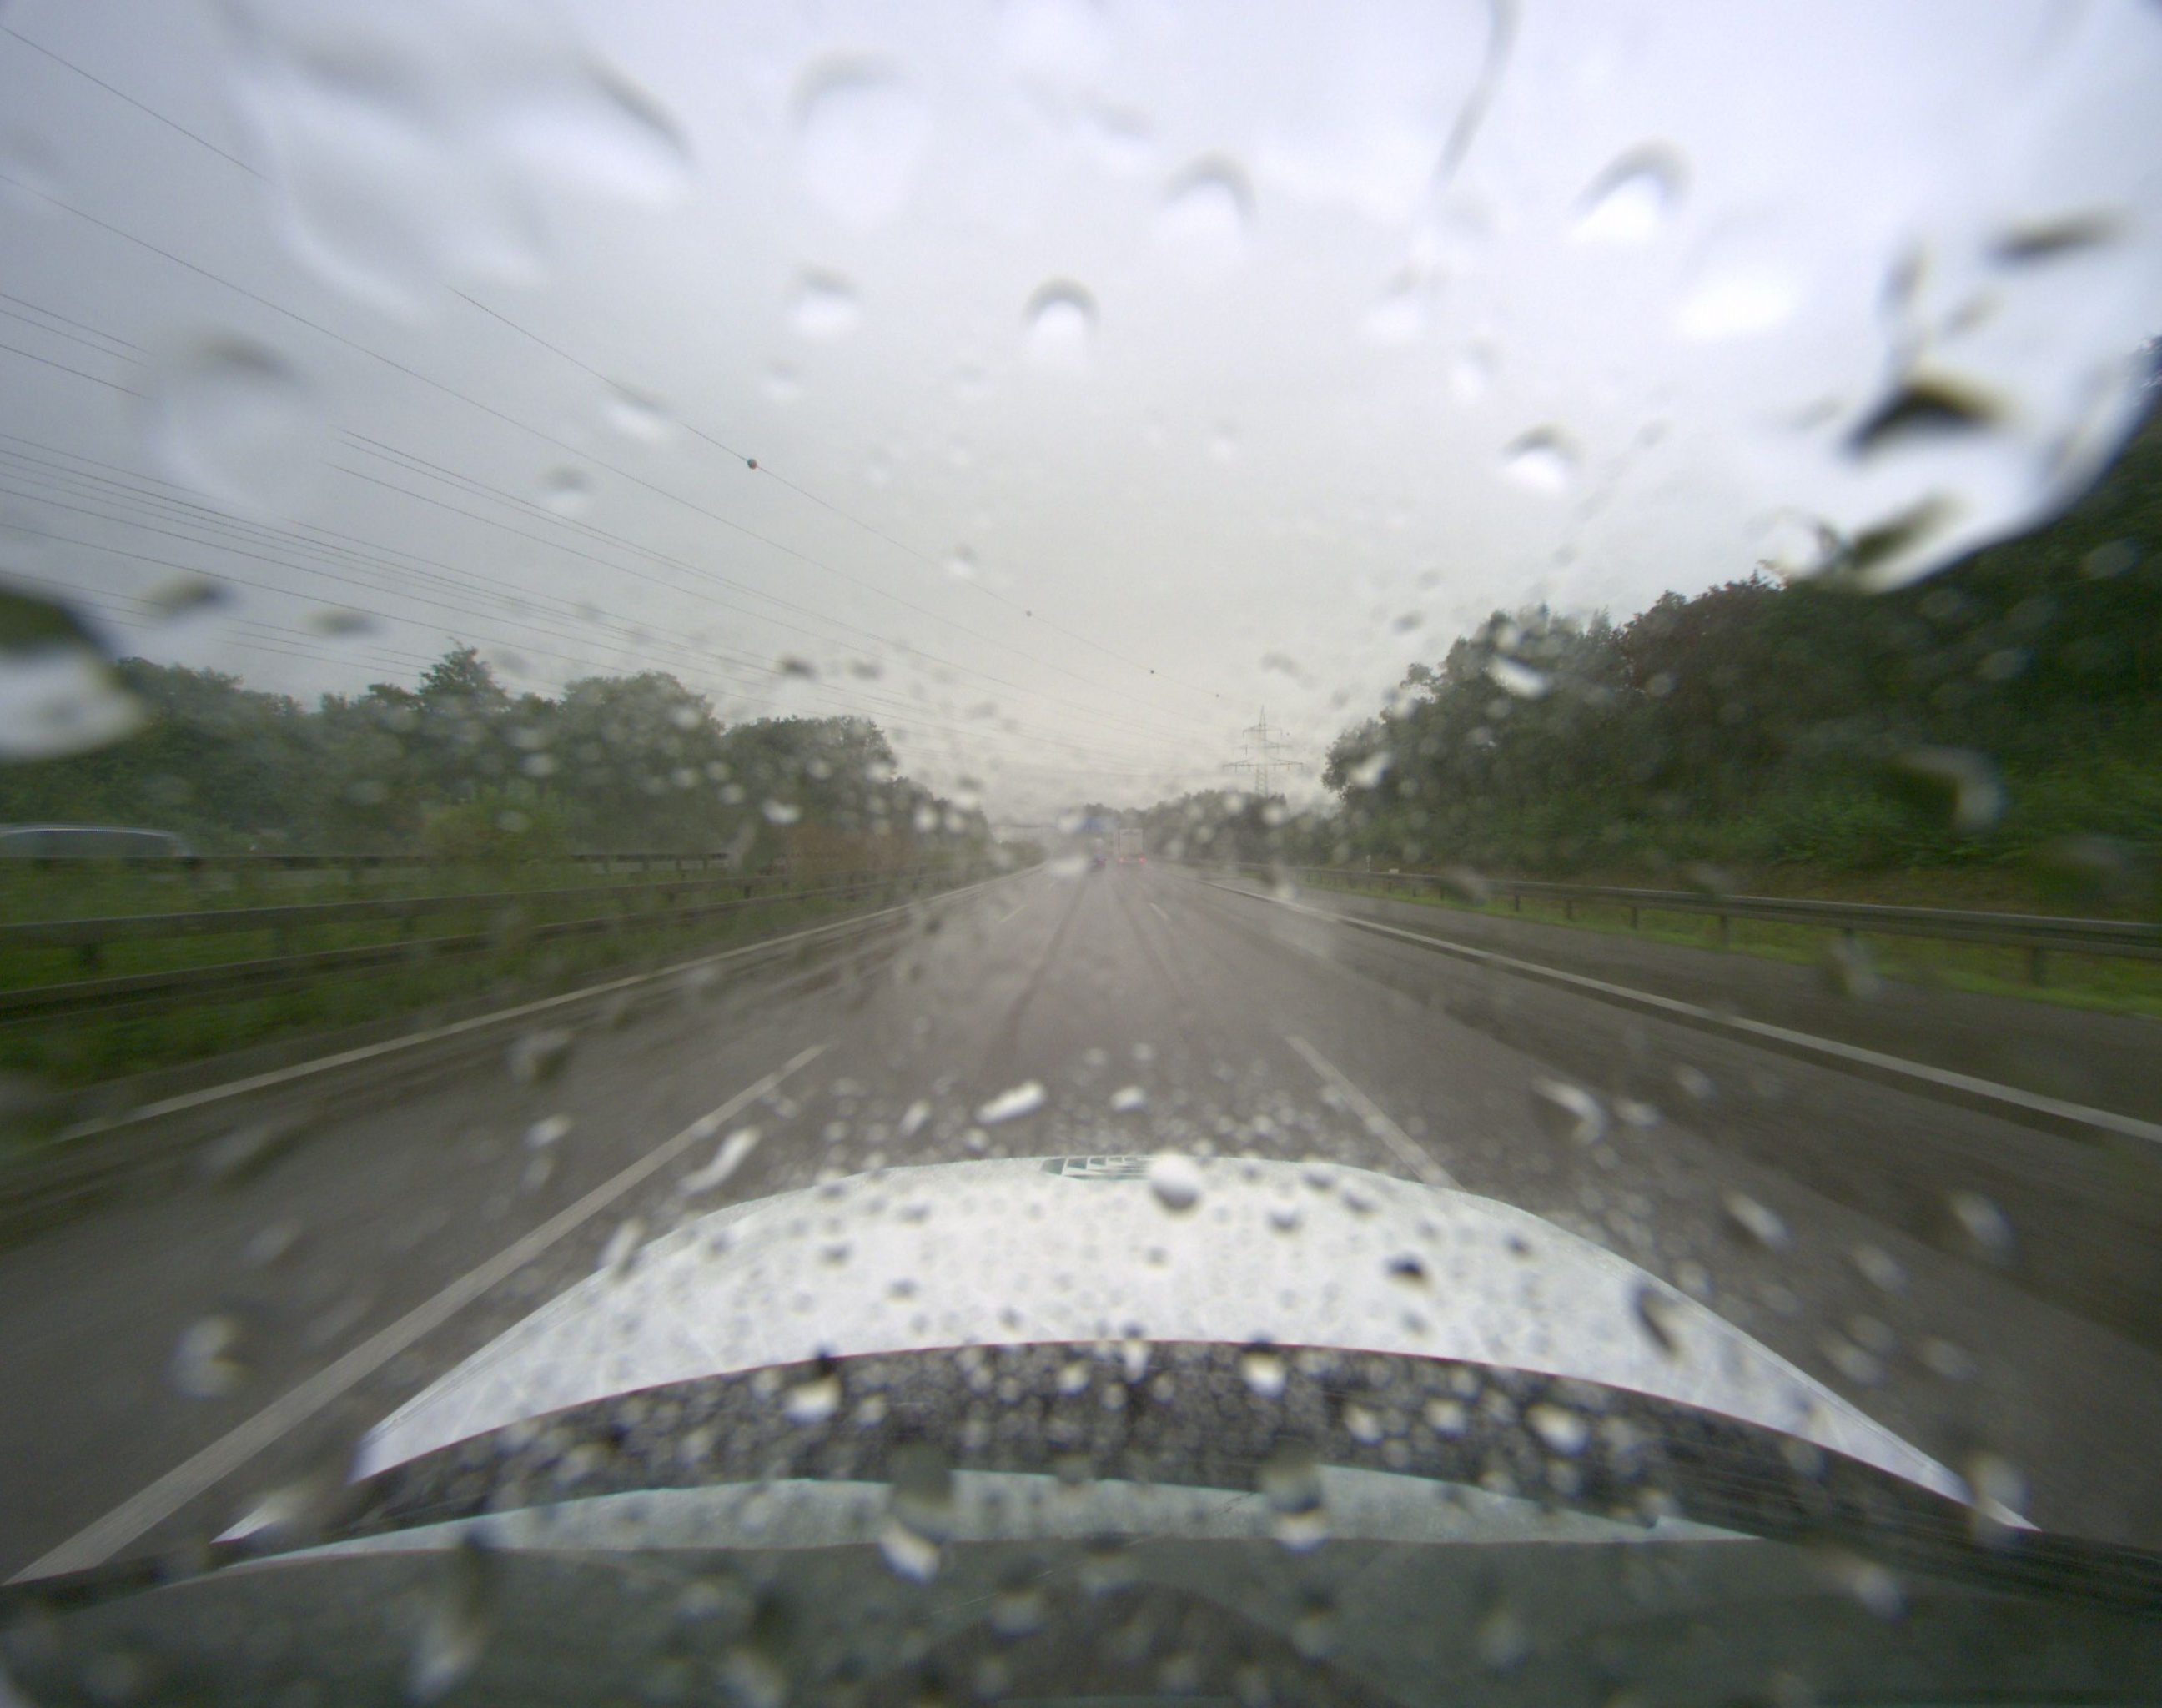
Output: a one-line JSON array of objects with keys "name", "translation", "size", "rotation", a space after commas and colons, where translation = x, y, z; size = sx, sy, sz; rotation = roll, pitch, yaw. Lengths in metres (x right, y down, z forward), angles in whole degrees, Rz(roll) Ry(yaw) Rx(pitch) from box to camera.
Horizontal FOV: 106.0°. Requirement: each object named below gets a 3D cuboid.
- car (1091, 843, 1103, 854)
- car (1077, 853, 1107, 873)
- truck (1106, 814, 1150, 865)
[{"name": "car", "translation": [3.397, -1.132, 173.227], "size": [2.384, 2.272, 5.005], "rotation": [1, 1, 2]}, {"name": "car", "translation": [0.804, 0.600, 56.518], "size": [1.740, 1.212, 4.006], "rotation": [2, 0, 5]}, {"name": "truck", "translation": [5.322, -1.526, 90.572], "size": [4.238, 4.972, 17.359], "rotation": [-2, 0, 4]}]
